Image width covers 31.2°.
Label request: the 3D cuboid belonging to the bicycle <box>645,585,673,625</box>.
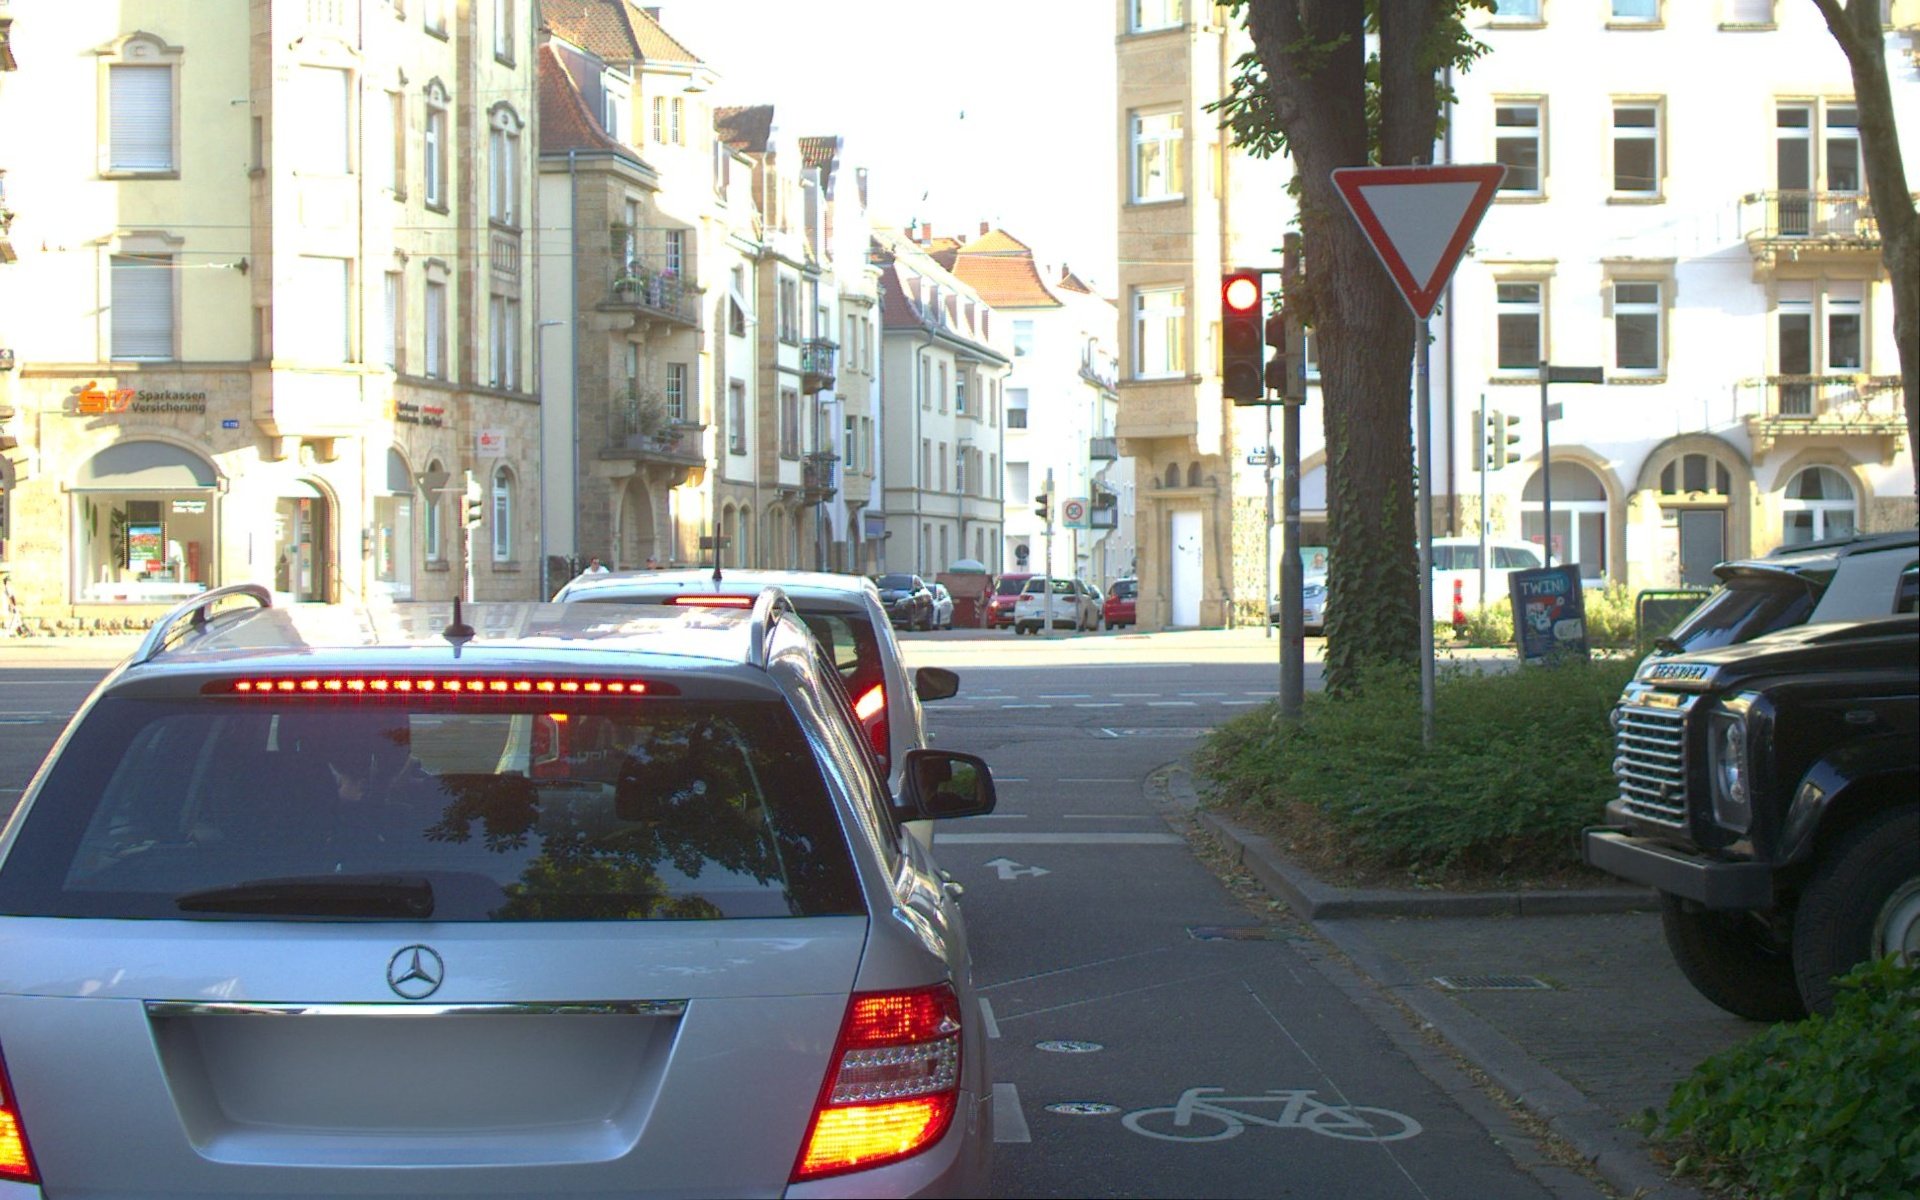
[{"bbox_3d":[-6.430,0.099,73.469,0.568,0.832,1.566,0,1,-4],"label":"bicycle"}]

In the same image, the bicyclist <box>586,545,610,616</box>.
[{"bbox_3d":[-7.721,-0.420,73.354,0.466,1.509,0.655,0,1,-4],"label":"bicyclist"}]

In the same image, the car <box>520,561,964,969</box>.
[{"bbox_3d":[-0.824,0.553,13.733,1.533,1.386,3.600,0,1,-2],"label":"car"}]

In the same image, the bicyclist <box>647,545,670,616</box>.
[{"bbox_3d":[-6.438,-0.422,73.525,0.466,1.516,0.694,0,1,-4],"label":"bicyclist"}]

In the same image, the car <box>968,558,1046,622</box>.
[{"bbox_3d":[1.497,-0.336,107.606,1.938,1.952,4.149,0,1,8],"label":"car"}]

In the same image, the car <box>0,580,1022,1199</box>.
[{"bbox_3d":[-0.865,0.705,6.486,1.690,1.424,3.493,1,1,-3],"label":"car"}]

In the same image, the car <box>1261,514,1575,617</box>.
[{"bbox_3d":[6.804,-0.537,51.180,4.284,1.457,1.787,-1,2,-14],"label":"car"}]

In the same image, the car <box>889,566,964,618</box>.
[{"bbox_3d":[-1.041,-0.255,108.718,1.651,1.598,3.861,0,0,11],"label":"car"}]

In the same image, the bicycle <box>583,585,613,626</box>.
[{"bbox_3d":[-7.728,0.114,73.419,0.568,0.832,1.566,0,1,-4],"label":"bicycle"}]

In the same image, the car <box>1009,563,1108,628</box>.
[{"bbox_3d":[2.490,-0.127,85.892,1.722,1.473,3.998,-2,1,12],"label":"car"}]

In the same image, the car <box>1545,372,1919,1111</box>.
[{"bbox_3d":[4.187,0.288,10.175,4.490,1.949,1.793,-2,1,-3],"label":"car"}]

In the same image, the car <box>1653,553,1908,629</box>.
[{"bbox_3d":[11.913,-0.140,50.014,3.364,1.065,1.380,0,1,-1],"label":"car"}]

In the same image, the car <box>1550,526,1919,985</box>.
[{"bbox_3d":[4.197,0.499,13.063,3.480,1.580,1.711,-2,1,-6],"label":"car"}]

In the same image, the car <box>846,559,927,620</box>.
[{"bbox_3d":[-2.182,-0.305,102.425,1.651,1.777,3.861,0,0,11],"label":"car"}]

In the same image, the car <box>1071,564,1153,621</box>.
[{"bbox_3d":[4.532,-0.232,102.084,1.722,1.473,3.998,-4,1,12],"label":"car"}]
